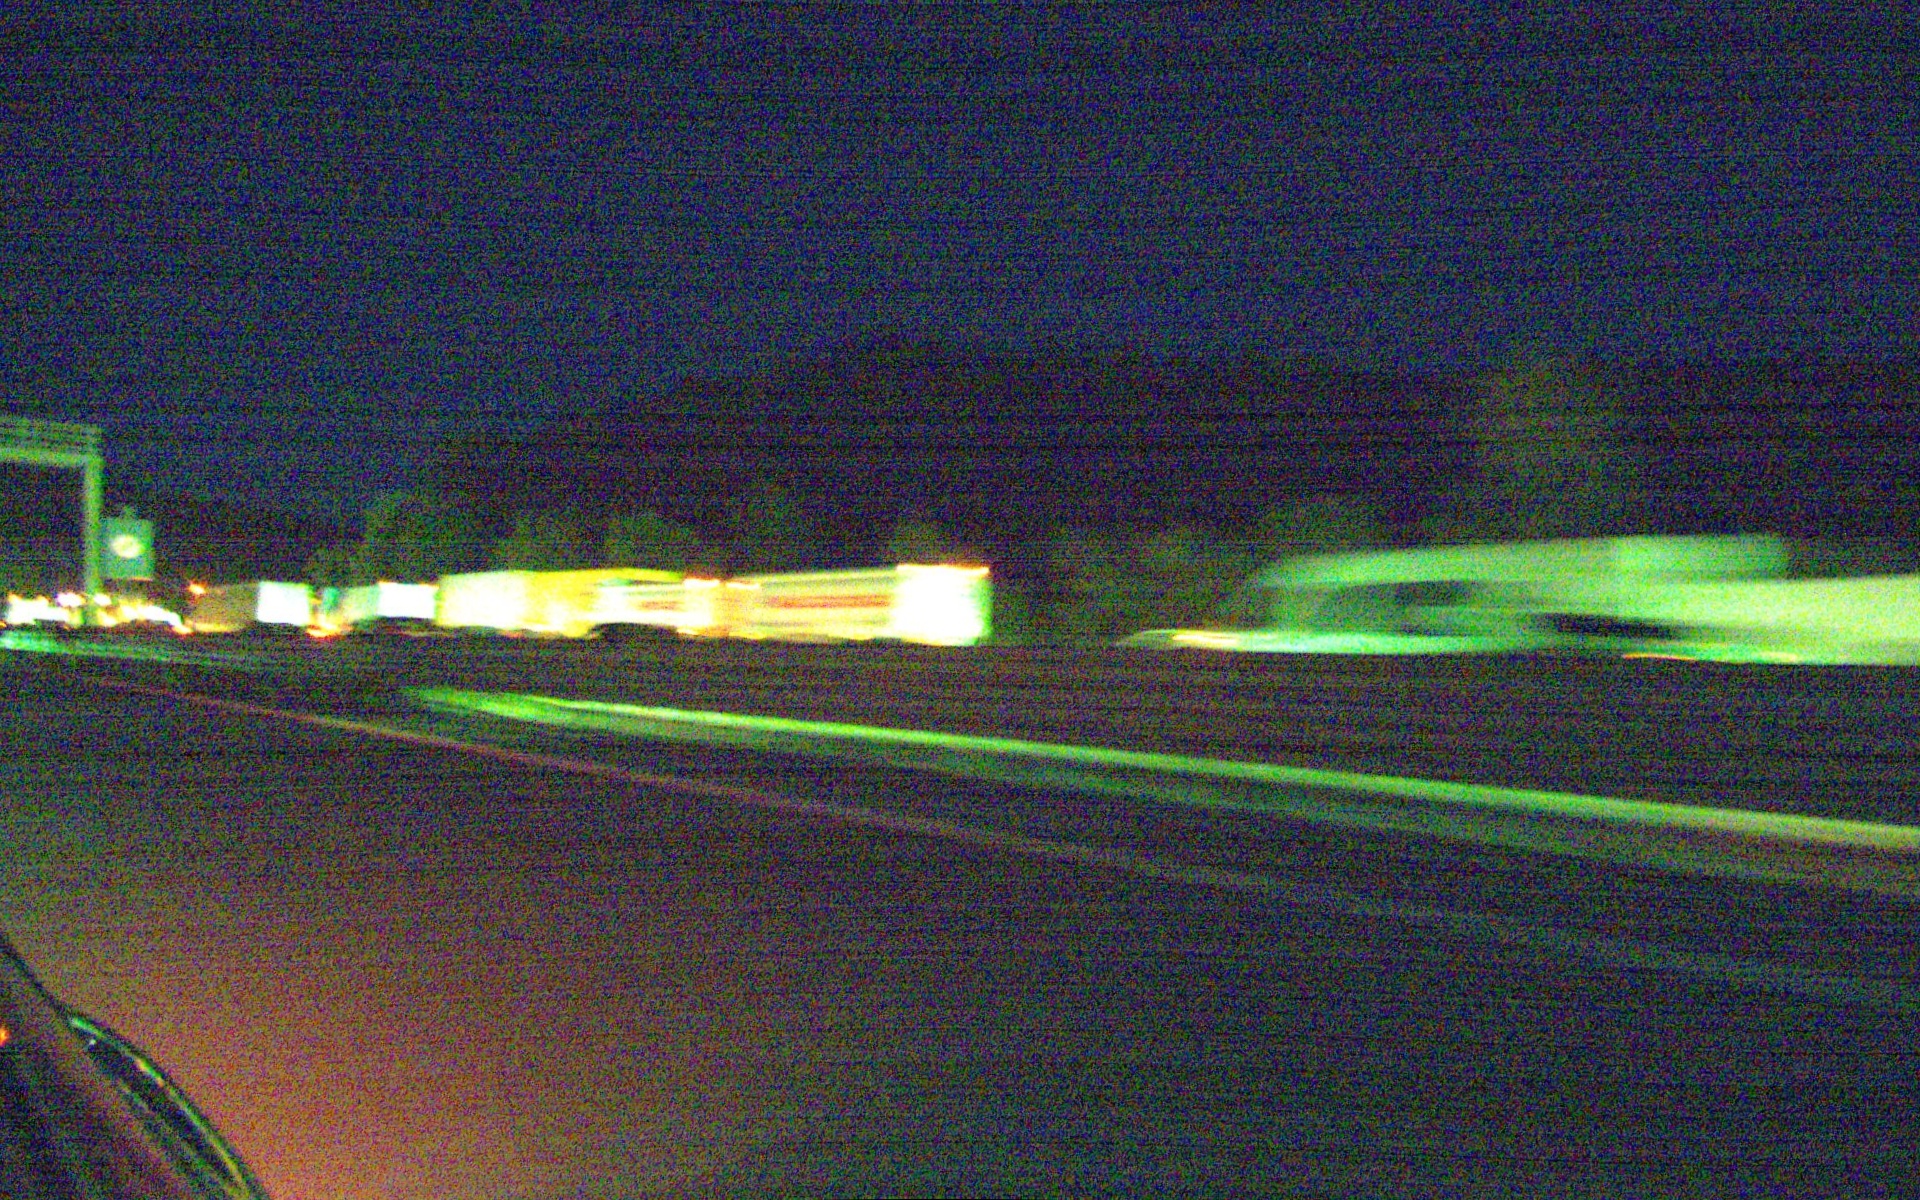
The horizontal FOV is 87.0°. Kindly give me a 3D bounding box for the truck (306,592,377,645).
[{"bbox_3d":[-39.120,1.158,63.996,4.903,3.235,2.369,-1,-2,40],"label":"truck"}]

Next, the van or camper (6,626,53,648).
[{"bbox_3d":[-62.363,2.468,67.793,5.350,1.364,1.801,-2,-3,42],"label":"van or camper"}]

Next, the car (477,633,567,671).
[{"bbox_3d":[-16.516,1.926,38.101,3.998,1.364,1.554,-1,-3,41],"label":"car"}]

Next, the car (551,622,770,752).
[{"bbox_3d":[-5.553,1.472,18.577,3.996,2.029,1.974,0,0,40],"label":"car"}]

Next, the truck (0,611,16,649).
[{"bbox_3d":[-109.656,3.361,115.194,3.071,4.128,7.085,-1,0,-42],"label":"truck"}]

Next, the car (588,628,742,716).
[{"bbox_3d":[-7.778,1.795,26.527,3.996,2.029,1.974,0,0,40],"label":"car"}]

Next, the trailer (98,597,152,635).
[{"bbox_3d":[-72.725,1.343,88.092,9.005,3.200,2.577,0,0,44],"label":"trailer"}]

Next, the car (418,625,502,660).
[{"bbox_3d":[-20.477,1.711,41.394,3.998,1.364,1.697,-1,-3,41],"label":"car"}]

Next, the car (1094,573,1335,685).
[{"bbox_3d":[5.069,0.518,20.447,4.309,2.029,1.974,0,0,40],"label":"car"}]

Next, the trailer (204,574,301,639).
[{"bbox_3d":[-43.489,0.472,61.996,11.176,3.655,2.368,-1,-2,42],"label":"trailer"}]

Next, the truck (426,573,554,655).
[{"bbox_3d":[-22.942,0.732,49.253,7.259,3.704,2.853,-1,-3,41],"label":"truck"}]

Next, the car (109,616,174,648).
[{"bbox_3d":[-35.968,1.408,44.432,3.998,1.364,1.554,-1,-3,41],"label":"car"}]

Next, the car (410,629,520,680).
[{"bbox_3d":[-16.354,1.751,33.372,3.972,1.497,1.682,0,0,38],"label":"car"}]

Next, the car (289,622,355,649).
[{"bbox_3d":[-34.141,1.897,54.105,4.636,1.364,1.555,-1,-3,39],"label":"car"}]

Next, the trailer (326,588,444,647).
[{"bbox_3d":[-34.134,1.063,59.830,11.171,3.235,2.369,-1,-2,40],"label":"trailer"}]

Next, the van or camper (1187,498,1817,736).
[{"bbox_3d":[7.203,0.285,14.486,7.595,2.652,2.063,-1,-3,39],"label":"van or camper"}]

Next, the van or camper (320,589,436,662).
[{"bbox_3d":[-28.363,1.243,49.188,7.387,3.297,2.408,-1,-3,40],"label":"van or camper"}]

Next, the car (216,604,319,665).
[{"bbox_3d":[-24.594,1.169,35.907,3.996,2.029,1.974,0,0,40],"label":"car"}]

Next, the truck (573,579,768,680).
[{"bbox_3d":[-9.748,0.918,33.550,7.448,3.008,2.529,0,-2,41],"label":"truck"}]

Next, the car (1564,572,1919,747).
[{"bbox_3d":[14.435,0.959,17.692,6.352,2.739,2.291,-2,-1,40],"label":"car"}]

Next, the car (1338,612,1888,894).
[{"bbox_3d":[5.893,1.147,9.487,3.996,2.029,1.974,0,0,40],"label":"car"}]

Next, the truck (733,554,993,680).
[{"bbox_3d":[-2.831,0.453,27.710,7.398,3.008,2.734,0,-2,41],"label":"truck"}]

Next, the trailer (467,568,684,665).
[{"bbox_3d":[-17.216,0.734,44.433,13.122,3.702,2.854,-2,2,41],"label":"trailer"}]

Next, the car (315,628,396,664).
[{"bbox_3d":[-23.770,1.780,39.738,3.998,1.364,1.554,-1,-3,41],"label":"car"}]

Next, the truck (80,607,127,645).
[{"bbox_3d":[-77.021,2.251,90.979,5.797,3.244,2.614,0,0,44],"label":"truck"}]

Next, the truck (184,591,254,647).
[{"bbox_3d":[-49.001,1.326,66.889,6.721,3.541,2.378,-2,-2,42],"label":"truck"}]

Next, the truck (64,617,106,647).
[{"bbox_3d":[-90.832,3.338,105.063,8.174,2.982,2.528,-2,-3,44],"label":"truck"}]

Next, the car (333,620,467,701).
[{"bbox_3d":[-15.868,1.632,28.617,3.996,2.029,1.974,0,0,40],"label":"car"}]

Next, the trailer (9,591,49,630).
[{"bbox_3d":[-102.688,1.112,111.761,3.053,4.119,12.465,-1,0,-42],"label":"trailer"}]

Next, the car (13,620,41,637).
[{"bbox_3d":[-76.822,2.385,83.329,1.552,1.364,4.003,2,-3,-44],"label":"car"}]

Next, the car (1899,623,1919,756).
[{"bbox_3d":[14.581,1.156,12.439,4.309,1.658,1.974,0,0,40],"label":"car"}]

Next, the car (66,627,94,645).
[{"bbox_3d":[-71.725,2.921,82.457,1.552,1.364,4.004,0,-1,-43],"label":"car"}]

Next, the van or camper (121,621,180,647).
[{"bbox_3d":[-65.180,2.747,81.444,7.635,2.029,2.165,-1,-3,40],"label":"van or camper"}]

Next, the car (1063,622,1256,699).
[{"bbox_3d":[4.920,1.430,25.205,4.309,1.658,1.974,0,0,40],"label":"car"}]
